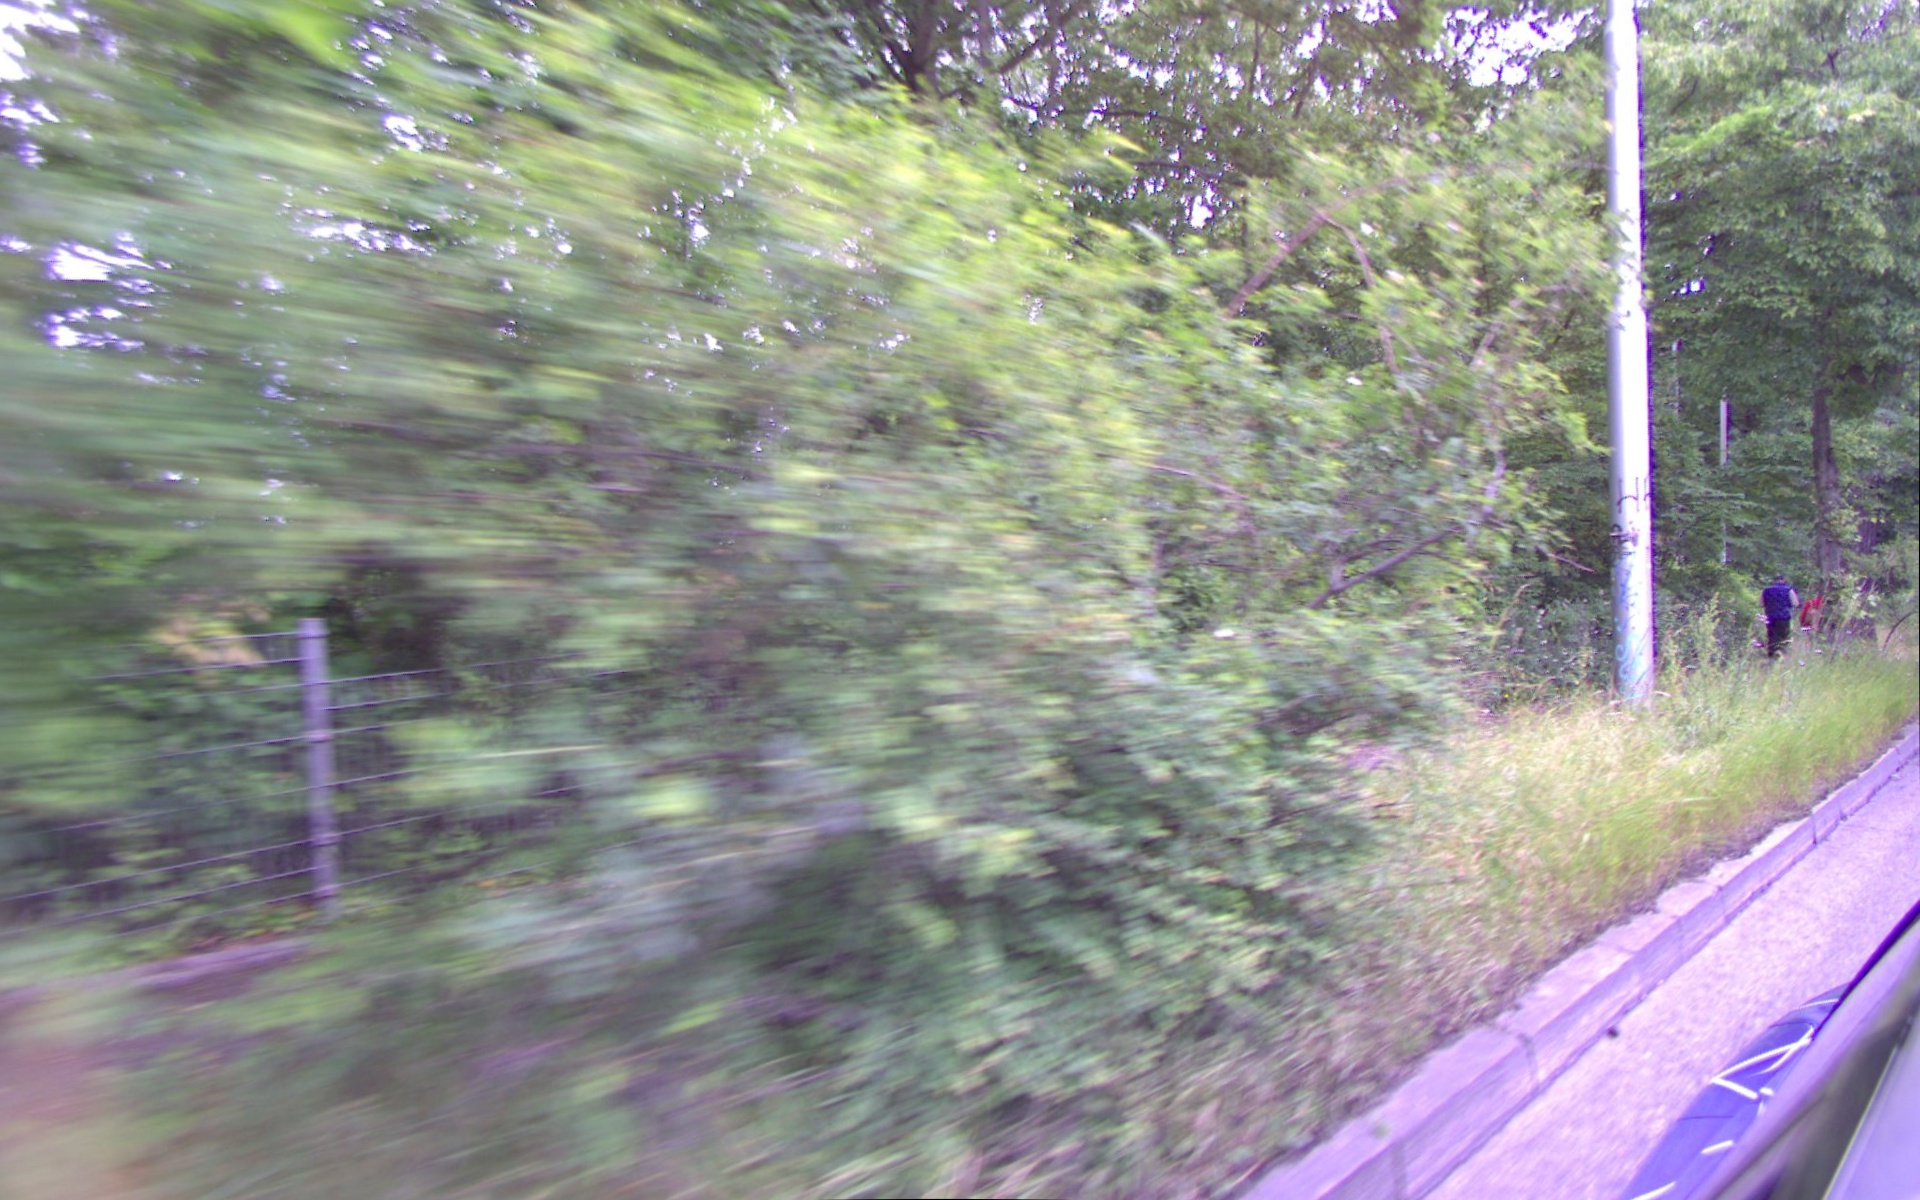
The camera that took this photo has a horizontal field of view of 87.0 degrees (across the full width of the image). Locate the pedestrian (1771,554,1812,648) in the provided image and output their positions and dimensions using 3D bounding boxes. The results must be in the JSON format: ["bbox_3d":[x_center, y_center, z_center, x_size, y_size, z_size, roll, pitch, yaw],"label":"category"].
[{"bbox_3d":[15.926,0.019,19.389,0.516,1.775,0.519,0,-1,-44],"label":"pedestrian"}]

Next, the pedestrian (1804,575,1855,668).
[{"bbox_3d":[16.657,0.402,19.384,0.540,1.718,0.609,0,3,-44],"label":"pedestrian"}]
